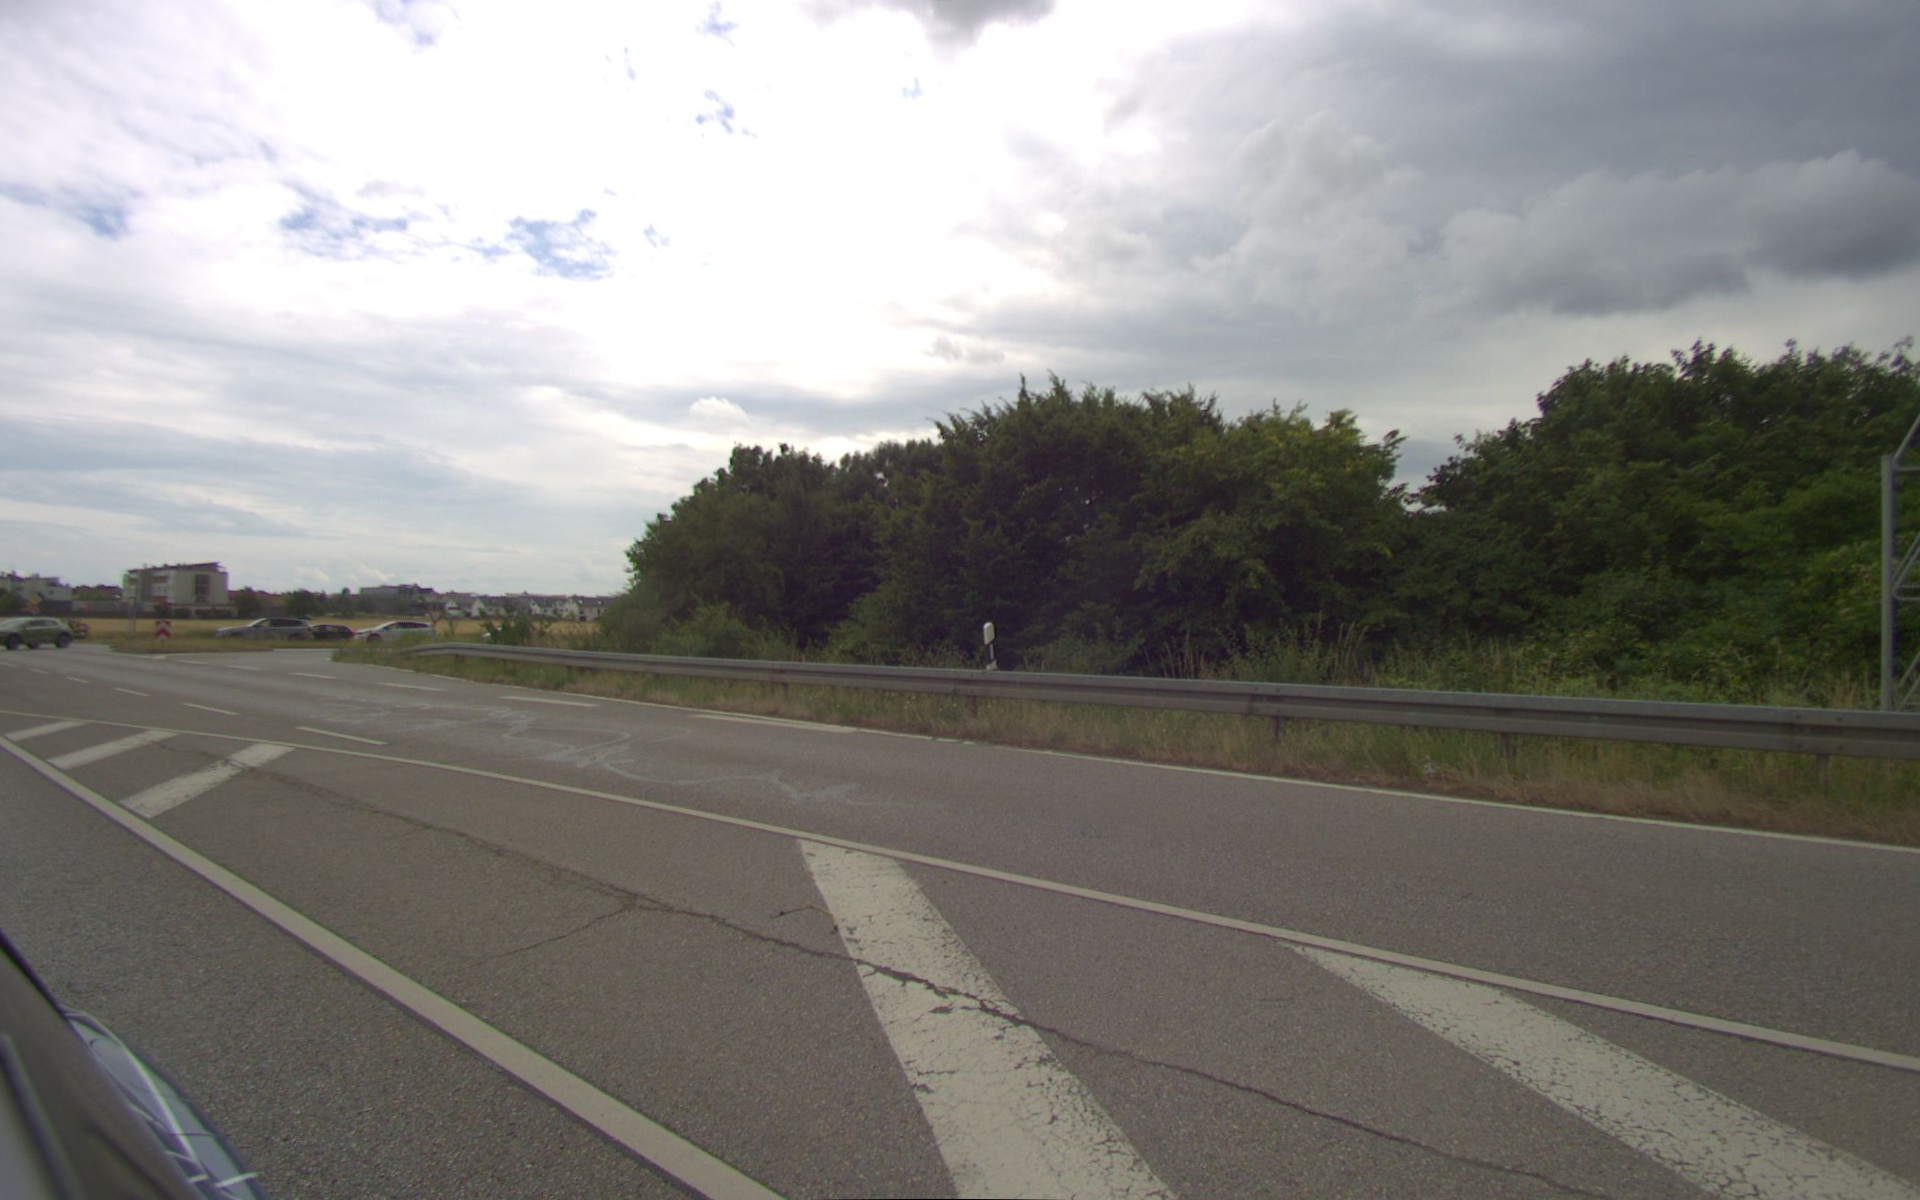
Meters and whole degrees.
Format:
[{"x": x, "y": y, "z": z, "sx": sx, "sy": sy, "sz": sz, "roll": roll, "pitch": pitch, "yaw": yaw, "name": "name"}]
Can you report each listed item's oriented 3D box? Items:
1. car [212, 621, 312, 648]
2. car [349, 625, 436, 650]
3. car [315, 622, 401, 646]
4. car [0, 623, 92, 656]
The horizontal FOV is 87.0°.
[{"x": -40.626, "y": 2.009, "z": 58.960, "sx": 4.568, "sy": 1.528, "sz": 1.913, "roll": 2, "pitch": -2, "yaw": -43, "name": "car"}, {"x": -35.417, "y": 2.310, "z": 63.246, "sx": 4.437, "sy": 1.493, "sz": 1.913, "roll": 2, "pitch": -2, "yaw": -43, "name": "car"}, {"x": -38.242, "y": 2.150, "z": 64.352, "sx": 4.345, "sy": 1.493, "sz": 1.913, "roll": 2, "pitch": -2, "yaw": -43, "name": "car"}, {"x": -45.351, "y": 1.871, "z": 48.978, "sx": 1.887, "sy": 1.533, "sz": 5.294, "roll": 0, "pitch": -2, "yaw": 5, "name": "car"}]
